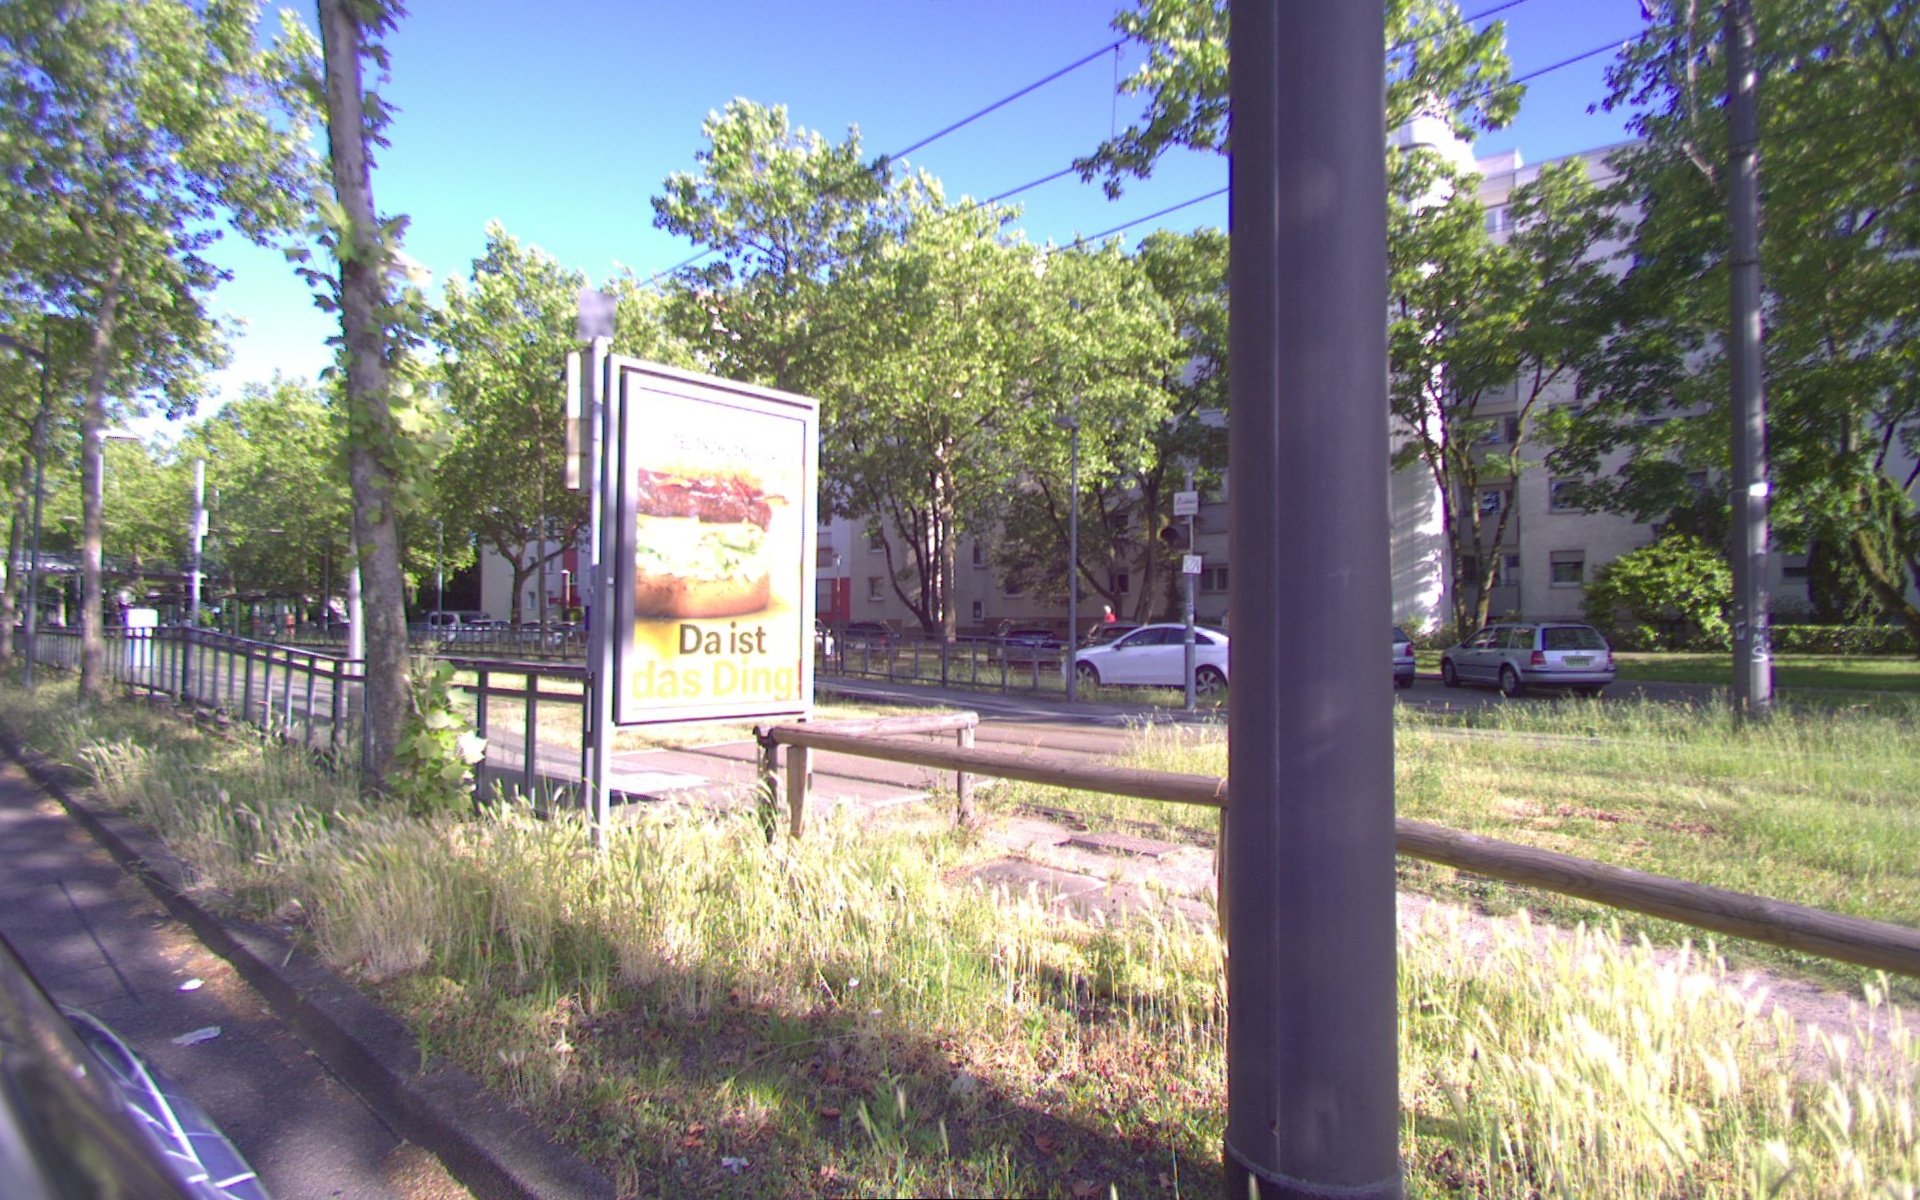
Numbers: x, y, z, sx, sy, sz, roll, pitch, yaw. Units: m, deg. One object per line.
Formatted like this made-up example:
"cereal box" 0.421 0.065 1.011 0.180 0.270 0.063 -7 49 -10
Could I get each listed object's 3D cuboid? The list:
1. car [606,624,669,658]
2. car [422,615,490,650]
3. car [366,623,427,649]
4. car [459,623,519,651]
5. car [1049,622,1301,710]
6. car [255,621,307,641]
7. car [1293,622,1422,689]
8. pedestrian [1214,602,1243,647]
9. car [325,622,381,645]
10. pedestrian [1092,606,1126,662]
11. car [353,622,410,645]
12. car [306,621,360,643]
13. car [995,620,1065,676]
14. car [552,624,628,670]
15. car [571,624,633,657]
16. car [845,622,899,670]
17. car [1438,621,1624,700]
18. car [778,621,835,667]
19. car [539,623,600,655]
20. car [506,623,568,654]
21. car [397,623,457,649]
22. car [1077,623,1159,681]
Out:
"car" -14.062 1.761 44.335 1.633 1.366 3.805 -1 -1 -2
"car" -28.451 1.819 57.253 1.814 1.888 4.323 -1 -1 -2
"car" -33.692 2.108 60.601 1.633 1.452 3.805 -1 -1 -2
"car" -25.869 1.994 55.659 1.633 1.452 3.805 -1 -1 -2
"car" 4.099 1.216 19.870 4.642 1.522 1.633 -2 -1 43
"car" -53.048 2.395 79.153 1.633 1.452 3.805 -1 -1 -2
"car" 9.143 1.235 23.588 1.559 1.413 3.638 -1 -1 0
"pedestrian" 10.019 0.903 37.790 0.786 1.635 0.755 -1 0 39
"car" -40.836 2.221 68.191 1.633 1.452 3.805 -1 -1 -2
"pedestrian" 4.758 1.085 32.403 0.786 1.745 0.755 -1 0 39
"car" -37.883 2.167 66.378 1.633 1.452 3.805 -1 -1 -2
"car" -44.977 2.281 72.680 1.633 1.452 3.805 -1 -1 -2
"car" 1.984 1.351 29.665 1.633 1.522 3.805 -1 -1 -2
"car" -13.624 1.701 37.207 2.817 1.569 1.558 -2 -1 44
"car" -16.625 1.850 47.158 1.633 1.452 3.805 -1 -1 -2
"car" -2.975 1.523 34.647 1.633 1.522 3.805 -1 -1 -2
"car" 11.474 1.158 20.662 1.559 1.413 3.906 -1 -1 0
"car" -5.565 1.565 37.016 1.633 1.522 3.805 -1 -1 -2
"car" -19.044 1.892 49.539 1.633 1.452 3.805 -1 -1 -2
"car" -21.336 1.935 51.182 1.633 1.452 3.805 -1 -1 -2
"car" -31.330 2.078 59.598 1.633 1.452 3.805 -1 -1 -2
"car" 4.218 1.361 27.517 1.633 1.413 3.803 -1 -1 0
